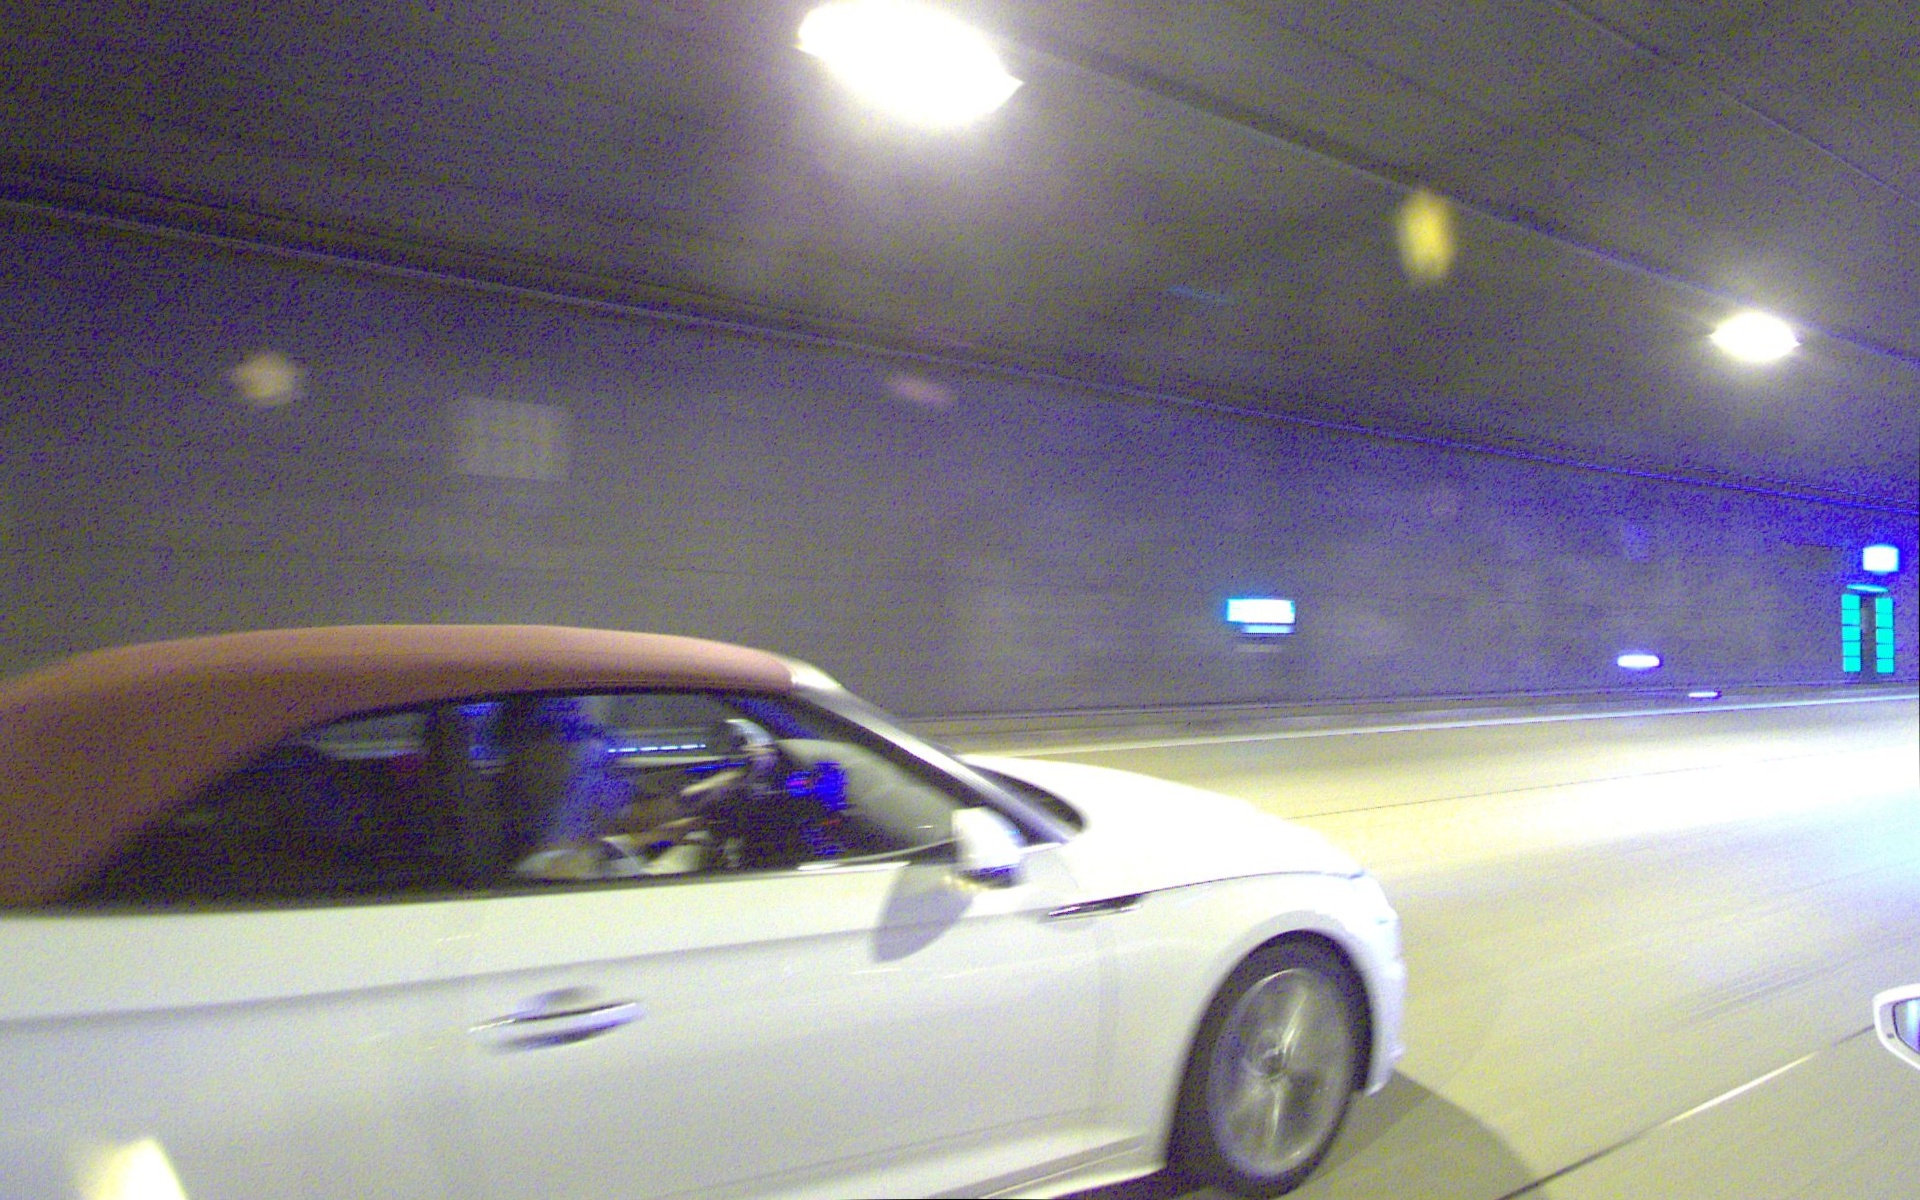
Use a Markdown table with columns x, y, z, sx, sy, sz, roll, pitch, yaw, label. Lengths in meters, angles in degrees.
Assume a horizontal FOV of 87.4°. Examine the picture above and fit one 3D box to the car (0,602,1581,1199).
| x | y | z | sx | sy | sz | roll | pitch | yaw | label |
| --- | --- | --- | --- | --- | --- | --- | --- | --- | --- |
| -0.685 | 0.763 | 2.536 | 5.001 | 1.437 | 1.694 | 2 | -1 | -30 | car |
